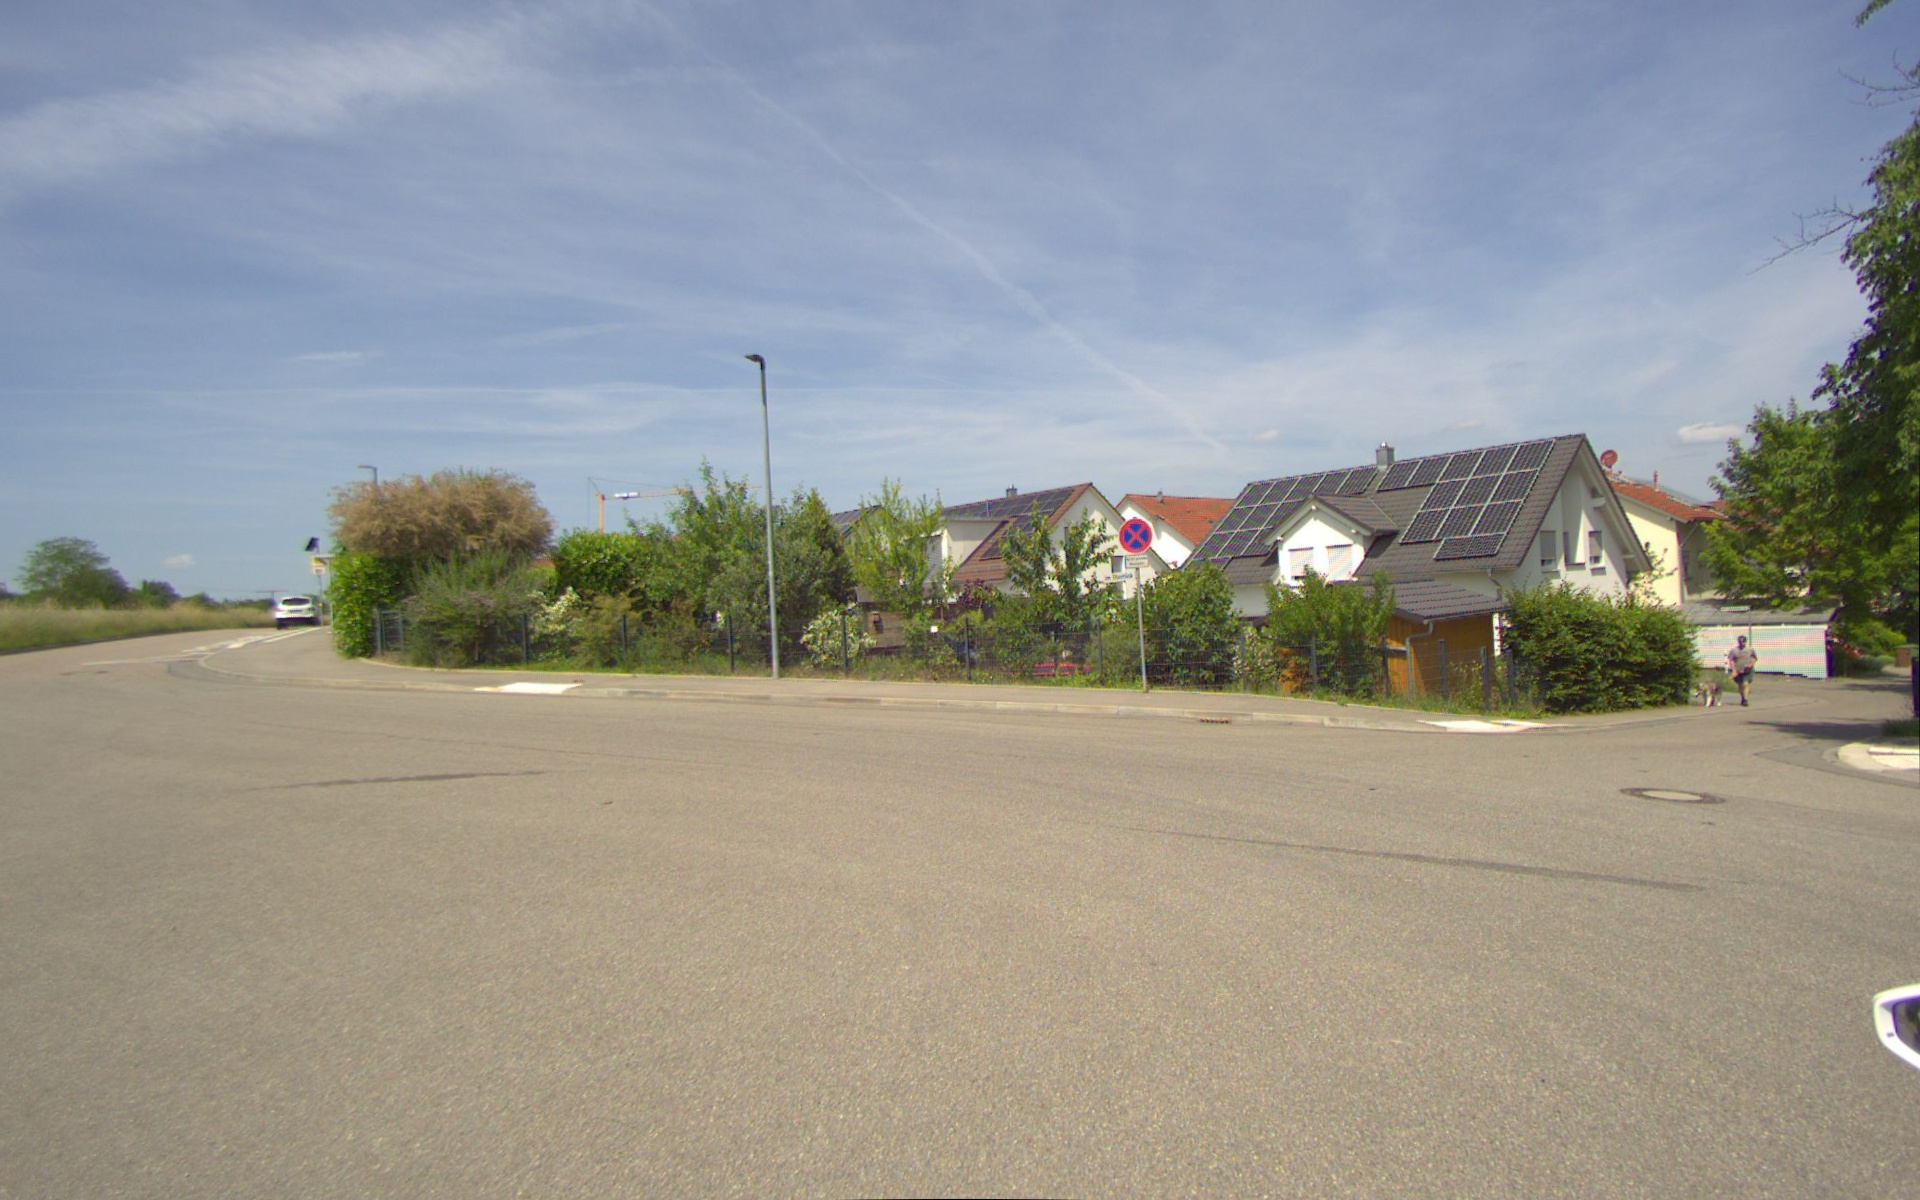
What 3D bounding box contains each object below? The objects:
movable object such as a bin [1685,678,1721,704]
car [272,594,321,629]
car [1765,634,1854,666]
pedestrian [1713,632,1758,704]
[{"bbox_3d":[18.902,2.311,25.550,1.013,0.637,0.543,4,-3,-40],"label":"movable object such as a bin"},{"bbox_3d":[-34.342,0.574,52.102,1.719,1.655,4.319,-2,1,-29],"label":"car"},{"bbox_3d":[42.499,2.456,50.330,3.374,1.439,1.579,0,0,39],"label":"car"},{"bbox_3d":[20.241,1.775,26.214,0.837,1.843,0.830,-1,-5,44],"label":"pedestrian"}]
